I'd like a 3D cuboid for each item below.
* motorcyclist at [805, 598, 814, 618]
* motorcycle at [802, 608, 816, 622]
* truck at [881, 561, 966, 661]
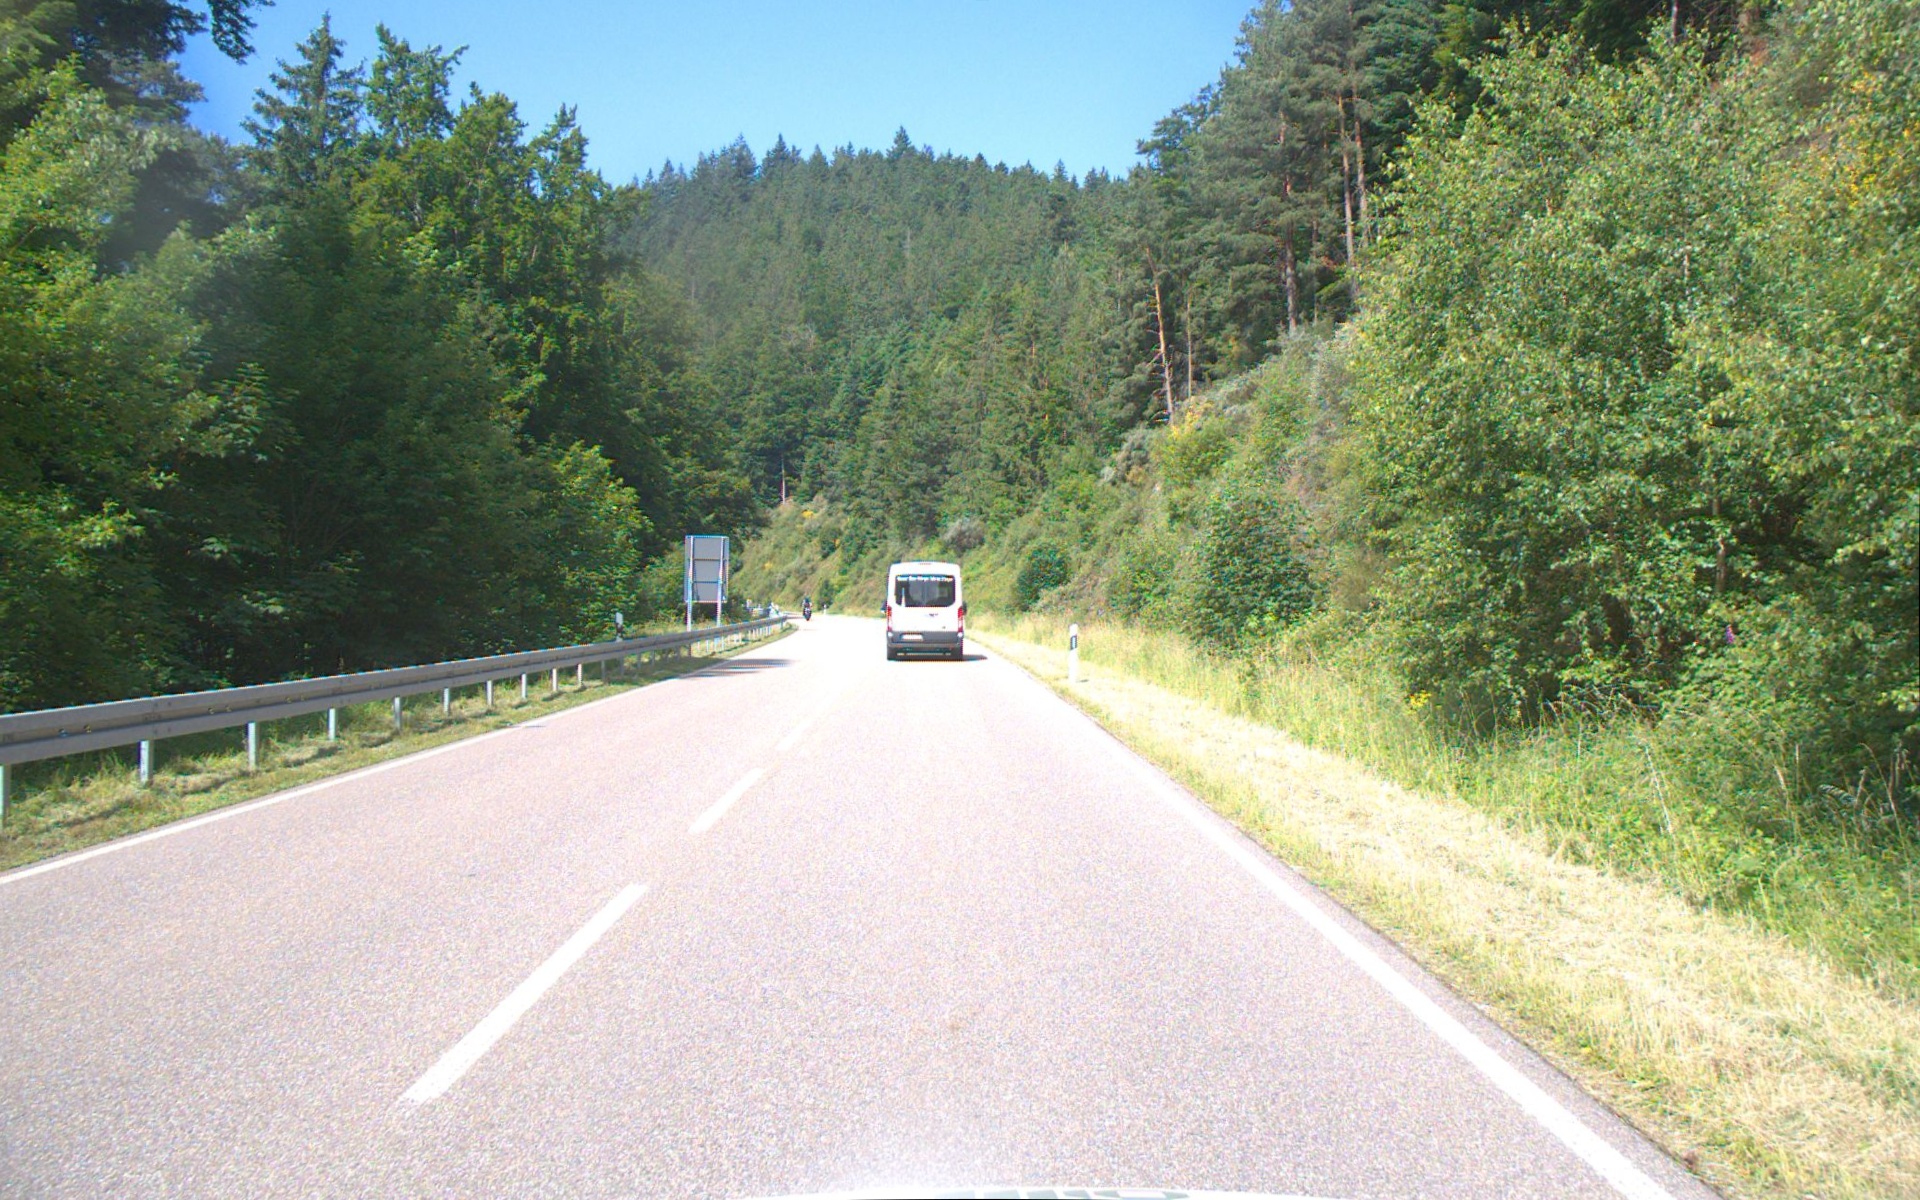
[{"bbox_3d":[-11.471,0.586,126.128,0.645,1.539,0.933,0,0,-3],"label":"motorcyclist"},{"bbox_3d":[-11.546,1.125,126.162,0.965,1.090,1.962,0,0,-3],"label":"motorcycle"},{"bbox_3d":[-1.035,0.292,43.969,2.042,2.503,4.871,0,0,-4],"label":"truck"}]
